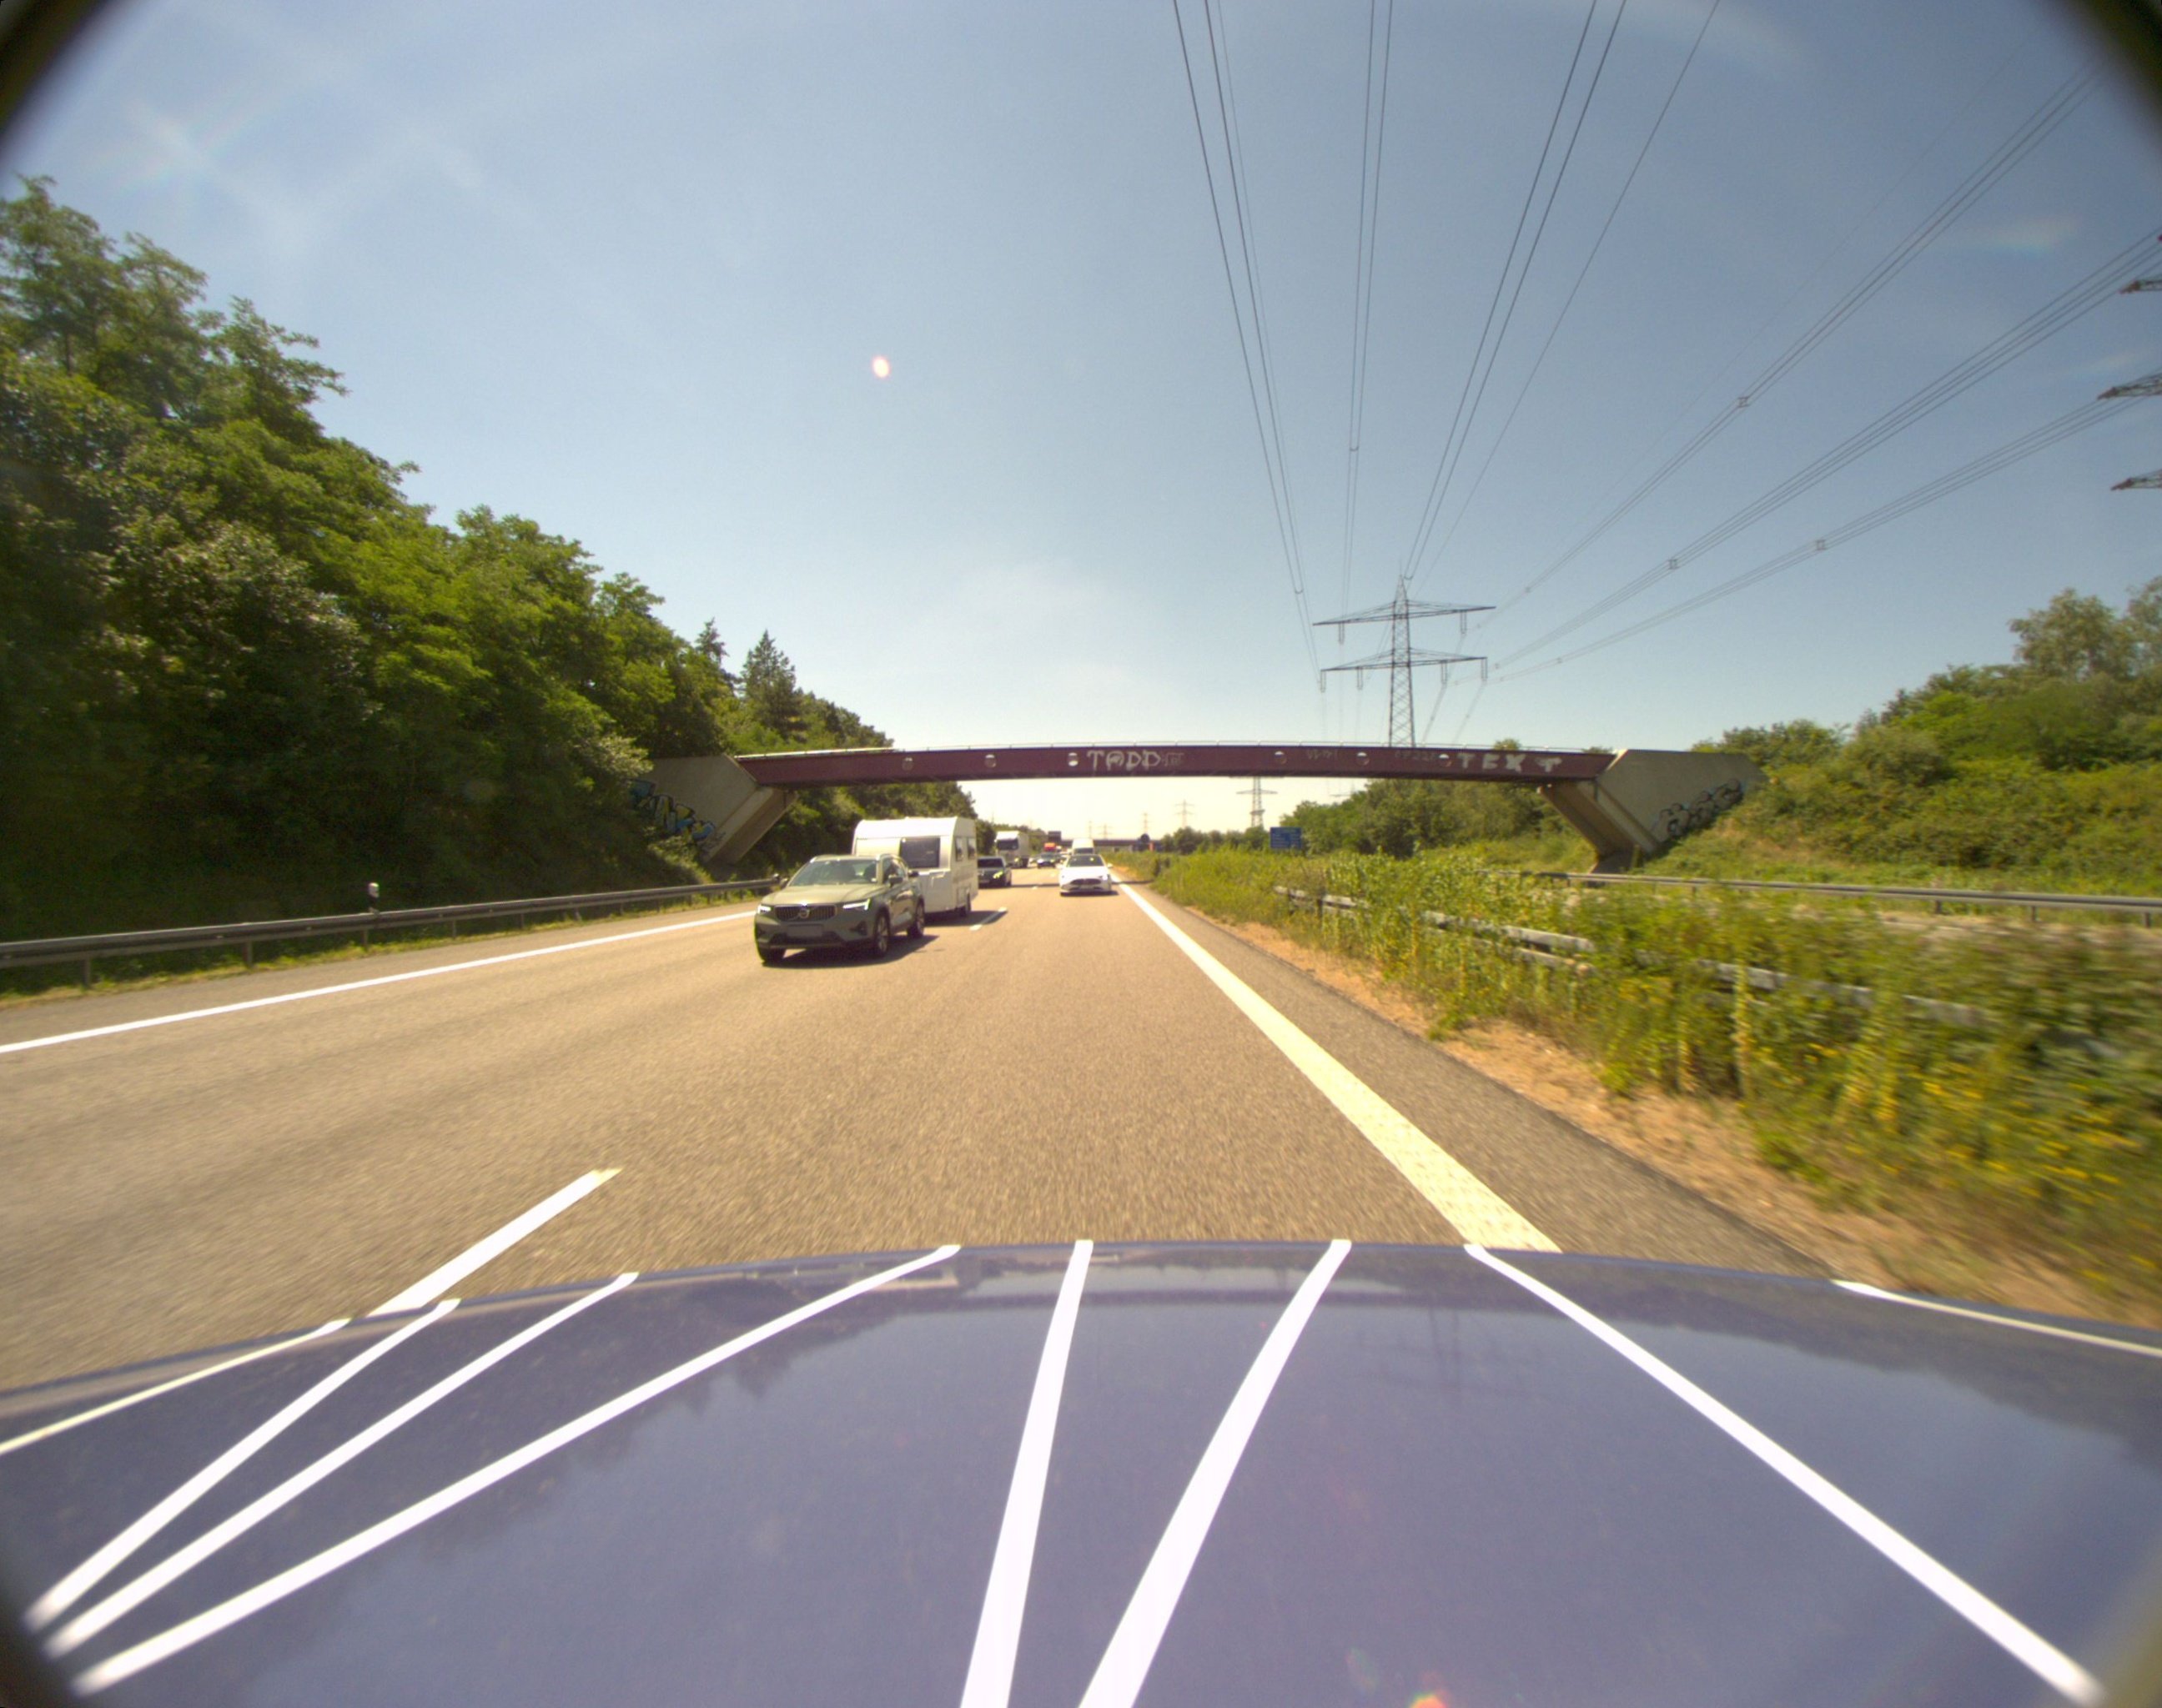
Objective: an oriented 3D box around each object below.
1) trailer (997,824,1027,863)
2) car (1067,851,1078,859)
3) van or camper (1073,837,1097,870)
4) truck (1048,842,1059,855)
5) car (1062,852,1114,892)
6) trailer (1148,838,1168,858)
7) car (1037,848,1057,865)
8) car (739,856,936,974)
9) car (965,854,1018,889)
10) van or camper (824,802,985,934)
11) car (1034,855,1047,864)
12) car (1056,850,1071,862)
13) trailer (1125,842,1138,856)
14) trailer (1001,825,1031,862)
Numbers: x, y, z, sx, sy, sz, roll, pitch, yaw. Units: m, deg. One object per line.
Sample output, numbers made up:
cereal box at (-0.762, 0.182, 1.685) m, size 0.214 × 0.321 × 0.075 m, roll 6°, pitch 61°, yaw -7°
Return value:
trailer at (-7.552, -1.088, 84.242) m, size 2.720 × 4.079 × 6.788 m, roll -1°, pitch 0°, yaw -1°
car at (-1.610, 0.154, 147.065) m, size 1.984 × 1.525 × 4.137 m, roll -1°, pitch 0°, yaw -1°
van or camper at (0.374, -0.066, 67.267) m, size 1.998 × 2.740 × 5.410 m, roll -2°, pitch 0°, yaw 1°
truck at (-6.792, -1.407, 189.914) m, size 2.582 × 3.204 × 5.712 m, roll -3°, pitch 1°, yaw -2°
car at (0.223, 0.687, 31.600) m, size 1.984 × 1.525 × 4.558 m, roll 0°, pitch 0°, yaw -1°
trailer at (18.738, -1.515, 186.584) m, size 3.352 × 4.381 × 14.165 m, roll 6°, pitch 0°, yaw 1°
car at (-3.559, 0.290, 80.734) m, size 1.984 × 1.671 × 4.558 m, roll -1°, pitch 0°, yaw -1°
car at (-3.915, 0.872, 13.196) m, size 1.884 × 1.603 × 4.701 m, roll -2°, pitch 0°, yaw 0°
car at (-4.215, 0.766, 36.529) m, size 1.845 × 1.496 × 4.738 m, roll -2°, pitch 0°, yaw 2°
van or camper at (-4.009, 0.278, 18.734) m, size 2.445 × 2.659 × 6.349 m, roll -1°, pitch 0°, yaw 0°
car at (-6.616, 0.856, 124.099) m, size 1.840 × 1.403 × 4.558 m, roll -2°, pitch 0°, yaw -1°
car at (-2.428, 0.301, 105.550) m, size 1.984 × 1.671 × 4.557 m, roll 0°, pitch 0°, yaw -1°
trailer at (16.969, -1.685, 255.656) m, size 3.095 × 4.382 × 14.230 m, roll 2°, pitch 0°, yaw 0°
trailer at (-7.706, -1.157, 91.853) m, size 2.736 × 4.078 × 13.186 m, roll -1°, pitch 0°, yaw -1°
